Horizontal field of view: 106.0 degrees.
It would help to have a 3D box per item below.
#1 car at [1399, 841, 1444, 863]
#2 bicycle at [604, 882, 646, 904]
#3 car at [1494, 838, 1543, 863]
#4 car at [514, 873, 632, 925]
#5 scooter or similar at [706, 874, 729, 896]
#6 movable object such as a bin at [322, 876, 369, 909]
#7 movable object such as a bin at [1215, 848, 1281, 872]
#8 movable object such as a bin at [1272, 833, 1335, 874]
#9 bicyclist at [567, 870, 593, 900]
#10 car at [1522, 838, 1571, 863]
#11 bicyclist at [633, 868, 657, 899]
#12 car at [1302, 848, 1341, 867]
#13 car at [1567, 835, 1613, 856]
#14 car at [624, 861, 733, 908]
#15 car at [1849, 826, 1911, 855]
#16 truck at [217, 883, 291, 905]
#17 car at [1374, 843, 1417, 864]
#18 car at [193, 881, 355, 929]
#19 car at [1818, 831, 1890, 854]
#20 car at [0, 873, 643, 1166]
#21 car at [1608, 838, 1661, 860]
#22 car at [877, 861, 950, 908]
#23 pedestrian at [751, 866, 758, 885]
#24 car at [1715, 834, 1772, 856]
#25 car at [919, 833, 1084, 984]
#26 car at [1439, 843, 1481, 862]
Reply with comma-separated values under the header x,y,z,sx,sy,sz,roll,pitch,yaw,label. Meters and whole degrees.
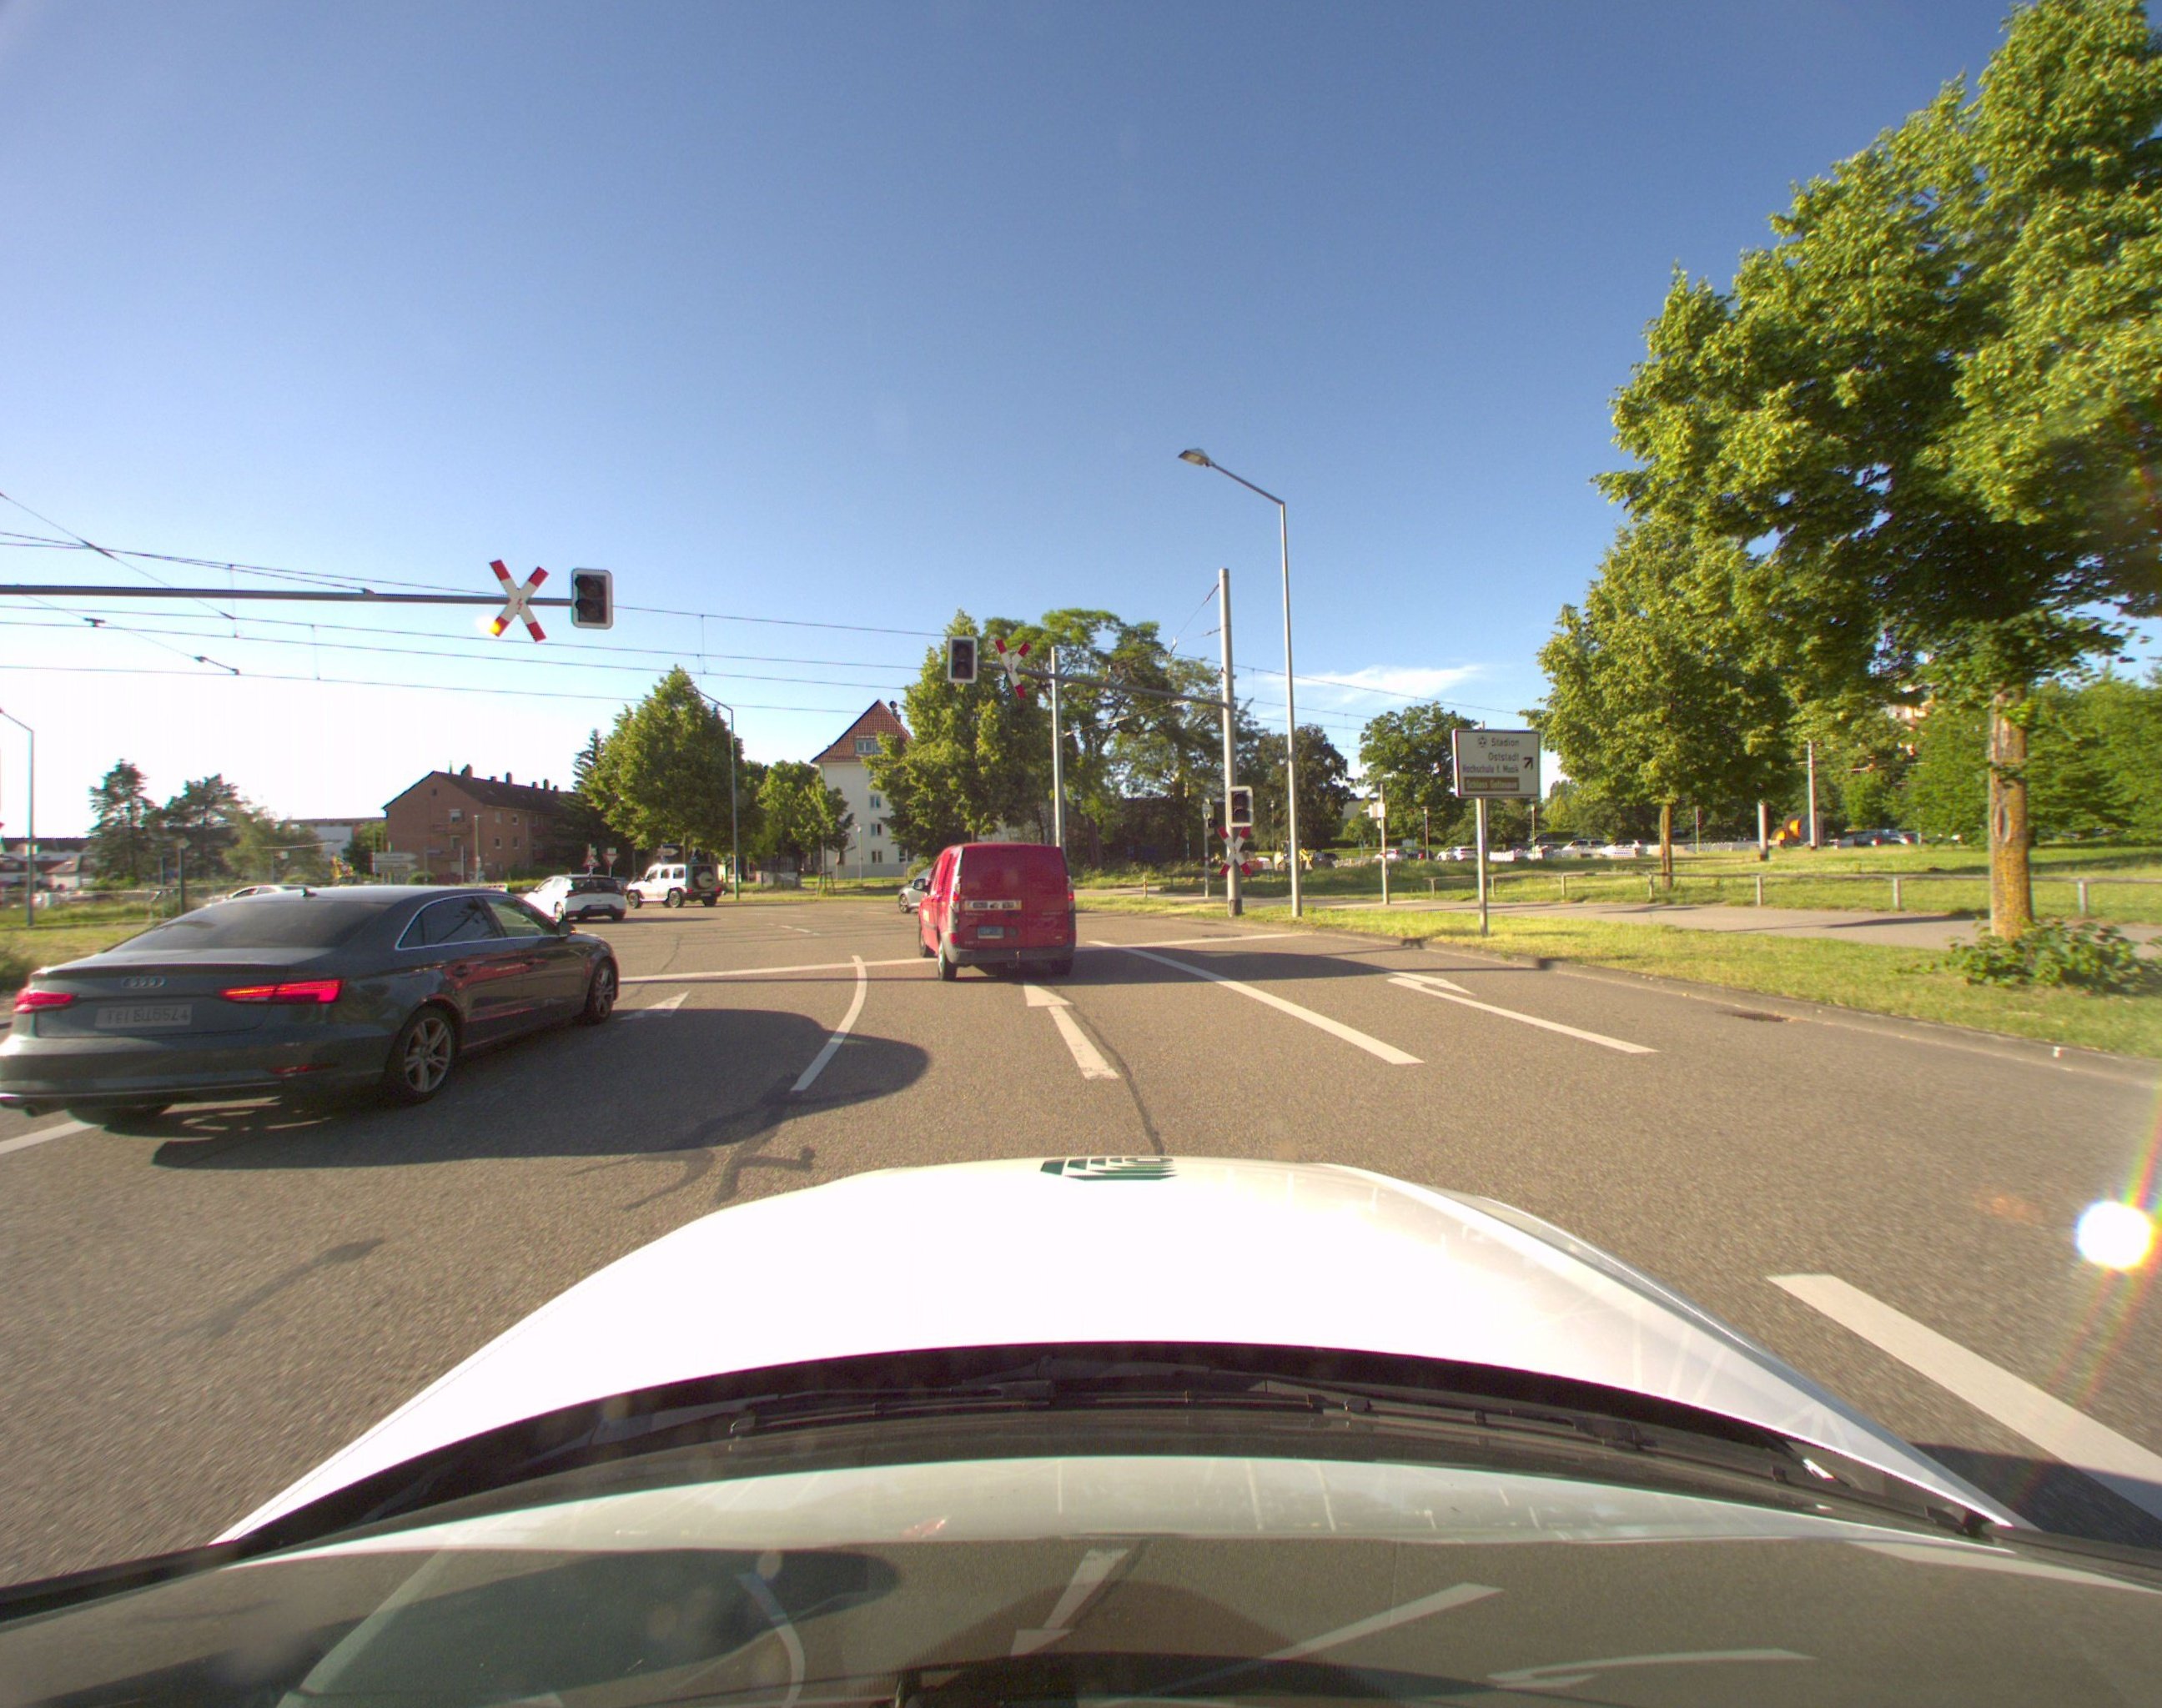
x,y,z,sx,sy,sz,roll,pitch,yaw,label
30.969,-0.138,74.264,1.992,1.769,3.988,-1,-2,-8,car
-27.439,2.321,49.012,2.189,1.266,0.820,-2,-2,9,bicycle
40.725,-0.272,75.903,1.992,2.100,3.988,-1,-2,-8,car
-15.519,1.325,24.849,3.760,1.461,1.820,-2,-2,37,car
-22.191,1.888,49.706,1.251,1.248,0.446,-3,-3,14,scooter or similar
-64.593,3.381,71.517,3.948,2.774,2.442,-3,-3,38,movable object such as a bin
14.322,0.547,69.924,5.015,1.948,2.227,-1,-2,-16,movable object such as a bin
16.416,-0.007,60.331,1.999,2.789,5.015,-1,-2,-18,movable object such as a bin
-31.287,1.949,50.869,1.019,1.852,0.884,-1,-2,0,bicyclist
43.614,-0.321,76.402,1.992,2.100,3.988,-1,-2,-8,car
-26.834,1.819,50.125,1.016,1.852,0.814,-2,-2,9,bicyclist
21.392,0.349,72.541,1.918,1.557,3.939,-1,-2,-8,car
48.232,-0.769,77.265,1.686,1.779,3.840,-1,-2,-4,car
-17.928,1.371,36.228,4.692,1.897,2.016,-3,-1,29,car
80.008,-1.356,81.651,1.992,2.653,3.988,-1,-2,-8,car
-81.909,3.928,80.656,6.367,2.014,2.180,-2,-2,15,truck
28.756,-0.045,74.526,1.992,1.723,3.988,-1,-2,-8,car
-30.539,1.915,30.902,4.370,1.575,2.004,-2,0,7,car
64.612,-0.936,68.135,1.992,1.756,3.988,-1,-2,-8,car
-5.238,0.890,6.355,1.759,1.380,4.347,0,0,-8,car
53.047,-0.455,78.146,1.992,1.959,3.988,-1,-2,-8,car
-5.776,1.036,27.715,1.721,1.436,4.120,-1,-2,-22,car
-35.599,2.378,88.742,0.468,2.013,0.455,-2,0,1,pedestrian
64.936,-0.849,79.907,1.992,1.896,3.988,-1,-2,-8,car
-1.321,0.664,11.899,1.806,1.813,3.790,0,0,-15,car
35.039,-0.152,75.334,1.825,1.556,3.798,-1,-2,-6,car
